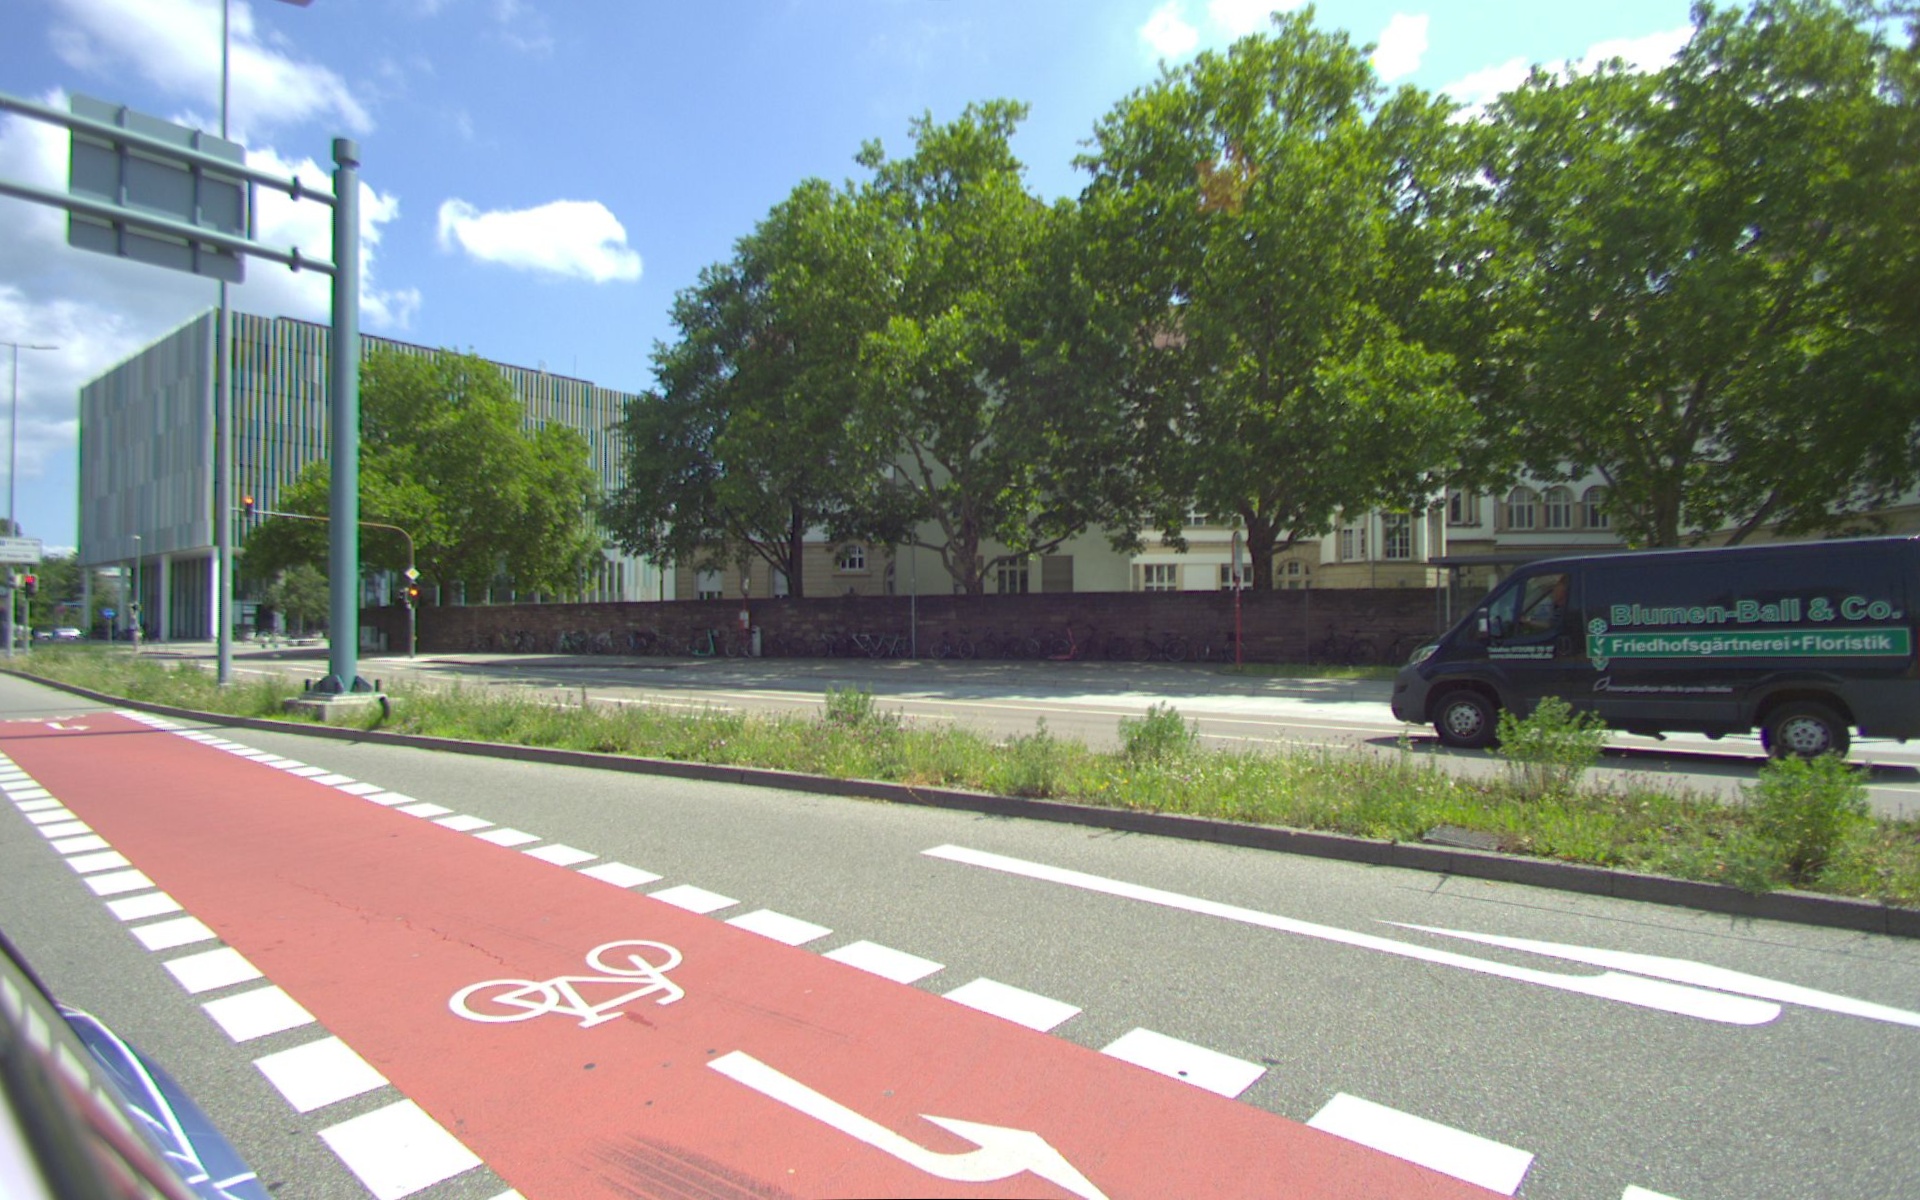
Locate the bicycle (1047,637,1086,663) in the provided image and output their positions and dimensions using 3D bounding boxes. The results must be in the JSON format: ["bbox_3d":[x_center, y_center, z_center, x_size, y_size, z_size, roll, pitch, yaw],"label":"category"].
[{"bbox_3d":[3.399,1.599,32.456,1.230,0.837,0.262,-1,-2,28],"label":"bicycle"}]

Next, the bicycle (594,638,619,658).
[{"bbox_3d":[-14.993,2.023,42.879,1.231,0.837,0.262,-2,-2,30],"label":"bicycle"}]

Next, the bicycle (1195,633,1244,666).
[{"bbox_3d":[7.797,1.475,30.415,1.389,0.972,0.262,-1,-2,28],"label":"bicycle"}]

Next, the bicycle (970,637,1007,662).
[{"bbox_3d":[0.951,1.654,33.717,1.230,0.837,0.262,-1,-2,28],"label":"bicycle"}]

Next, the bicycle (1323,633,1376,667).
[{"bbox_3d":[11.169,1.432,29.031,1.384,0.972,0.263,-1,-2,18],"label":"bicycle"}]

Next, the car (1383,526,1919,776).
[{"bbox_3d":[7.571,0.552,11.066,5.016,2.192,2.125,-2,-4,41],"label":"car"}]

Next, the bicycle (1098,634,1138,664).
[{"bbox_3d":[4.930,1.527,31.584,1.230,0.915,0.262,-1,-2,28],"label":"bicycle"}]

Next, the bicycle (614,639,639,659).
[{"bbox_3d":[-13.913,2.033,42.215,1.231,0.837,0.262,-2,-2,30],"label":"bicycle"}]

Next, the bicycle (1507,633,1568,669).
[{"bbox_3d":[15.621,1.374,27.387,1.384,0.972,0.263,-1,-2,18],"label":"bicycle"}]

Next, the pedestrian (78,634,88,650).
[{"bbox_3d":[-80.958,3.886,93.428,0.689,1.464,0.686,-2,-3,45],"label":"pedestrian"}]

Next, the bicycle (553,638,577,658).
[{"bbox_3d":[-17.398,2.118,44.591,1.230,0.837,0.262,-1,-2,29],"label":"bicycle"}]

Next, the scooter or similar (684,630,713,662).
[{"bbox_3d":[-10.057,1.765,38.886,1.230,1.199,0.262,-1,-2,29],"label":"scooter or similar"}]

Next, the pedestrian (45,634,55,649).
[{"bbox_3d":[-88.868,4.062,98.800,0.686,1.464,0.689,1,-3,-45],"label":"pedestrian"}]

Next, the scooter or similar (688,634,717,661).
[{"bbox_3d":[-10.153,1.875,39.917,1.133,1.028,0.264,-1,-2,19],"label":"scooter or similar"}]

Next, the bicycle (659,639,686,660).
[{"bbox_3d":[-11.543,1.972,40.559,1.231,0.837,0.262,-2,-2,30],"label":"bicycle"}]

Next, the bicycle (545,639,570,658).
[{"bbox_3d":[-17.491,2.101,43.965,1.230,0.837,0.262,-1,-2,29],"label":"bicycle"}]

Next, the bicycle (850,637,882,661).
[{"bbox_3d":[-3.339,1.744,35.896,1.231,0.837,0.262,-1,-2,30],"label":"bicycle"}]

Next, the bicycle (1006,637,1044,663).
[{"bbox_3d":[2.123,1.616,33.068,1.230,0.837,0.262,-1,-2,28],"label":"bicycle"}]

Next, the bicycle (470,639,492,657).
[{"bbox_3d":[-22.701,2.267,47.957,1.231,0.837,0.262,-2,-2,30],"label":"bicycle"}]

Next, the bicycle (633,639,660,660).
[{"bbox_3d":[-12.845,2.013,41.446,1.231,0.837,0.262,-2,-2,30],"label":"bicycle"}]

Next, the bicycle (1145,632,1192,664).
[{"bbox_3d":[6.390,1.481,31.035,1.385,0.972,0.263,-1,-2,20],"label":"bicycle"}]

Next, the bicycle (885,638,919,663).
[{"bbox_3d":[-2.025,1.756,35.115,1.231,0.837,0.262,-1,-2,30],"label":"bicycle"}]

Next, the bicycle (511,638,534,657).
[{"bbox_3d":[-19.981,2.179,46.197,1.230,0.837,0.262,-1,-2,29],"label":"bicycle"}]

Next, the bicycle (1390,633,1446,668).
[{"bbox_3d":[12.854,1.410,28.418,1.384,0.972,0.263,-1,-2,18],"label":"bicycle"}]

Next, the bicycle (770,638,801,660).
[{"bbox_3d":[-6.479,1.816,37.565,1.231,0.837,0.262,-1,-2,30],"label":"bicycle"}]

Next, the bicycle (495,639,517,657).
[{"bbox_3d":[-21.062,2.235,46.965,1.231,0.837,0.262,-2,-2,30],"label":"bicycle"}]

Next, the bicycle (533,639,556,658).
[{"bbox_3d":[-18.604,2.169,45.308,1.230,0.837,0.262,-1,-2,29],"label":"bicycle"}]

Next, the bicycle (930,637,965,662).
[{"bbox_3d":[-0.423,1.677,34.248,1.230,0.837,0.262,-1,-2,28],"label":"bicycle"}]

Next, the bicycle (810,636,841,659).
[{"bbox_3d":[-4.899,1.732,36.856,1.231,0.837,0.262,-1,-2,30],"label":"bicycle"}]

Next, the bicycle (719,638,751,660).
[{"bbox_3d":[-8.656,1.892,38.948,1.226,0.837,0.263,-1,-2,19],"label":"bicycle"}]

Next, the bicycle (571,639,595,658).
[{"bbox_3d":[-16.276,2.088,43.724,1.231,0.837,0.262,-2,-2,30],"label":"bicycle"}]

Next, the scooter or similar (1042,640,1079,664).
[{"bbox_3d":[3.168,1.634,31.807,1.133,0.734,0.264,-1,-2,18],"label":"scooter or similar"}]

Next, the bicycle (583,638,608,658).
[{"bbox_3d":[-15.340,2.010,42.555,1.230,0.837,0.262,-1,-2,29],"label":"bicycle"}]

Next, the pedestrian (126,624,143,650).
[{"bbox_3d":[-64.694,2.866,79.307,0.994,2.029,0.853,-2,-2,39],"label":"pedestrian"}]
